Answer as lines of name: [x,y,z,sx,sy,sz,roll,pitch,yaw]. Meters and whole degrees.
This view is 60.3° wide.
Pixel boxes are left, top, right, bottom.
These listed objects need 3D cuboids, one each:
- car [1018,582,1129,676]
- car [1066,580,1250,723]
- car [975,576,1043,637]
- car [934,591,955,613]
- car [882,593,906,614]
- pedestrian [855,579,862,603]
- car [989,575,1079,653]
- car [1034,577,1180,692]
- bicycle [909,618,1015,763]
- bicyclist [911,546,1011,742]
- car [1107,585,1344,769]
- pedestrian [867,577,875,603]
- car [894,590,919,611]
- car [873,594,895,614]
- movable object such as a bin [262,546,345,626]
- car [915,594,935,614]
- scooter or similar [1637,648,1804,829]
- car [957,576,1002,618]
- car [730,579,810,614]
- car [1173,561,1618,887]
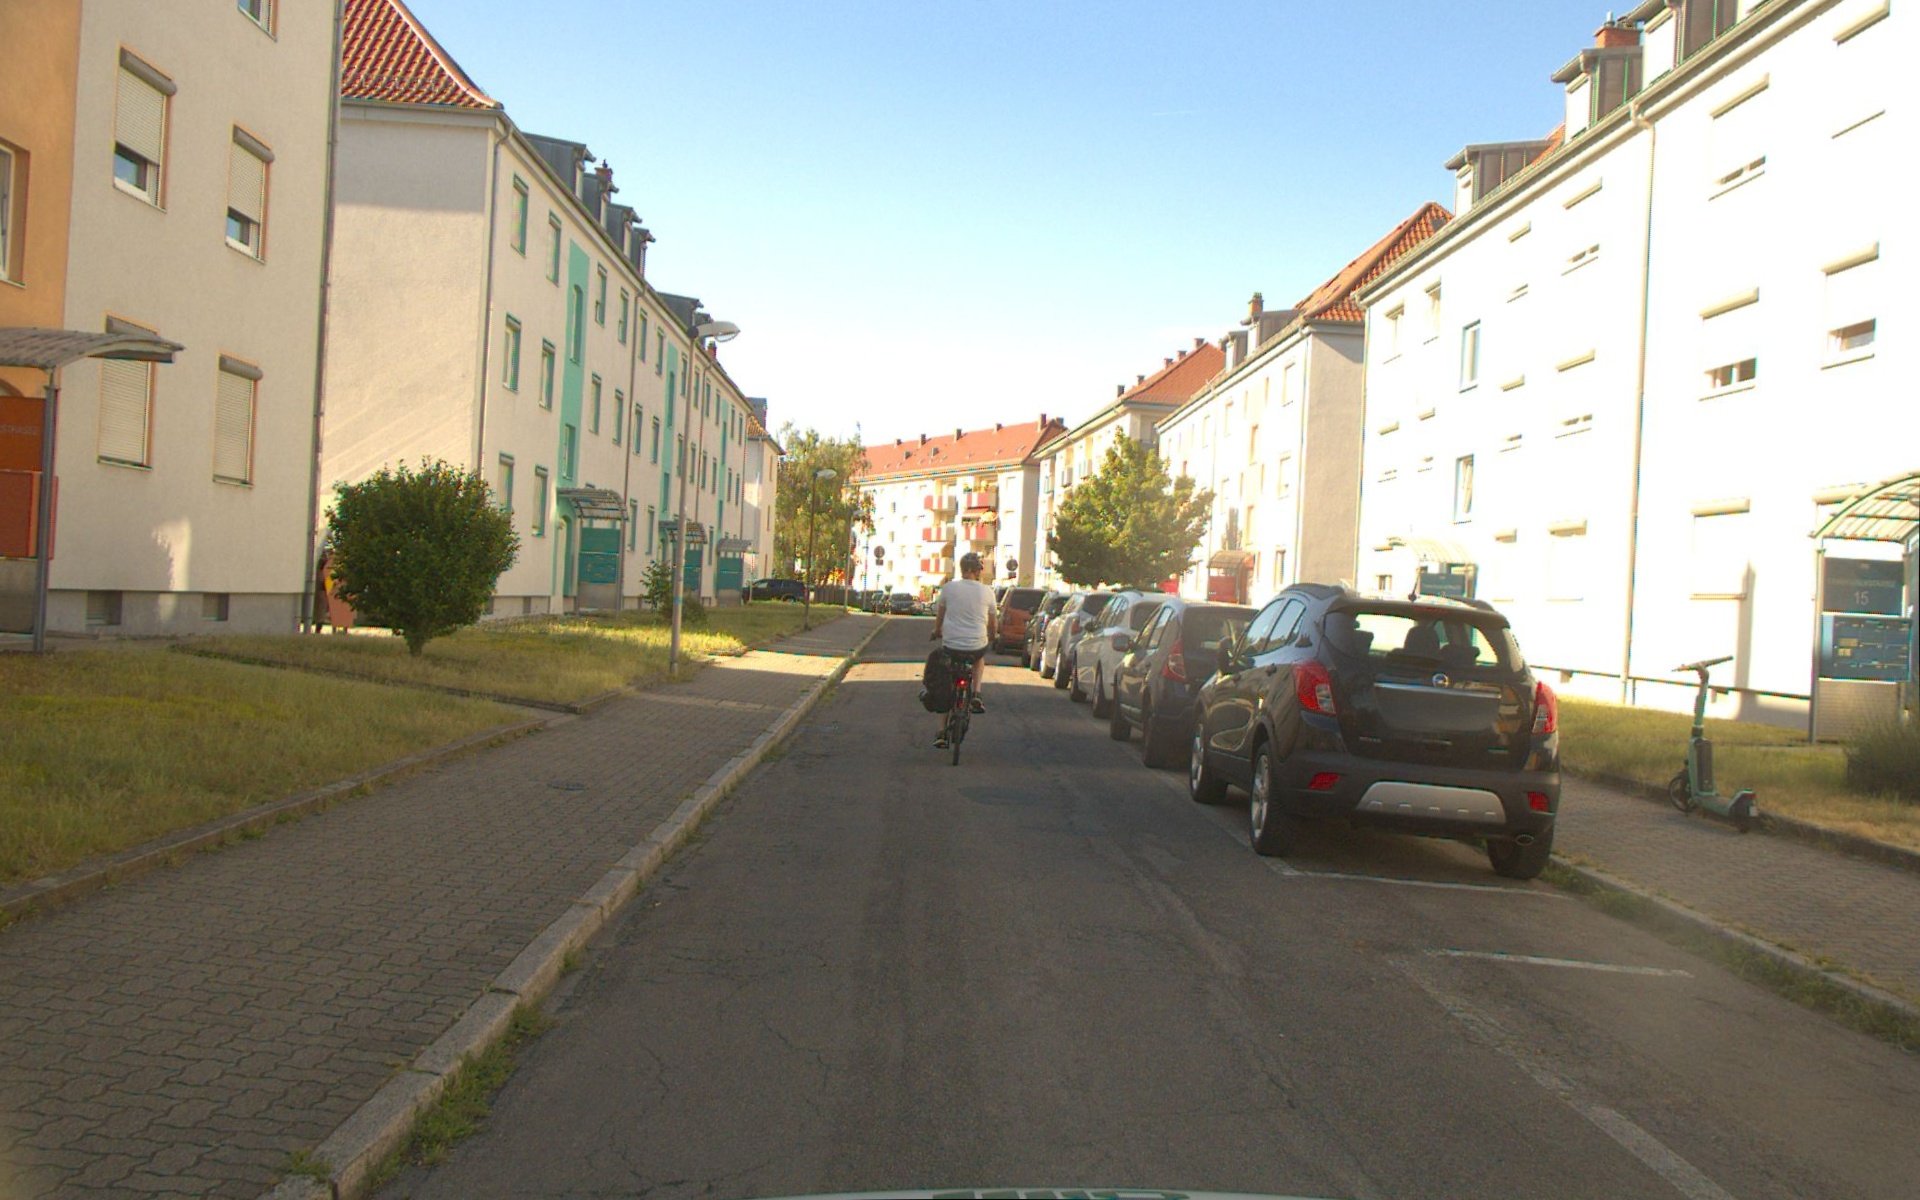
car: [2.214,0.524,33.243,1.678,1.623,4.396,5,0,-2]
car: [2.516,0.598,22.070,1.657,1.602,4.433,4,0,-2]
car: [1.488,0.164,51.552,1.667,1.699,4.377,4,0,-3]
car: [-1.185,0.107,124.531,1.354,1.523,3.075,4,0,-3]
car: [-4.507,0.234,112.317,1.441,1.358,3.137,-1,1,-5]
pedestrian: [-6.375,-0.564,104.098,0.425,1.452,0.543,1,0,-2]
car: [1.766,0.315,40.972,1.824,1.697,4.126,5,0,-2]
car: [2.401,0.516,28.119,1.716,1.645,4.449,5,0,-3]
bicycle: [-0.016,0.768,14.887,0.792,1.148,2.100,2,0,-4]
bicyclist: [-0.002,0.380,14.816,0.793,1.672,0.898,2,0,-4]
car: [2.491,0.651,16.461,1.608,1.524,4.156,2,0,-1]
pedestrian: [-5.620,-0.620,104.130,0.425,1.602,0.543,1,0,-2]
car: [-3.502,0.037,107.993,1.441,1.358,3.137,-1,0,-6]
car: [-5.488,0.257,118.952,1.440,1.358,3.138,-1,1,-4]
movable object such as a bin: [-11.931,-0.255,30.085,1.228,1.380,0.903,2,0,-13]
car: [-2.903,0.315,137.125,1.440,1.542,3.075,4,0,-4]
scooter or similar: [5.543,0.972,12.140,0.474,1.169,1.589,0,1,-1]
car: [0.852,-0.151,75.042,1.641,1.769,3.940,4,0,-3]
car: [-10.208,-0.196,89.022,4.149,1.667,1.581,3,0,-6]
car: [2.692,0.663,11.369,1.747,1.676,4.468,4,0,-1]
